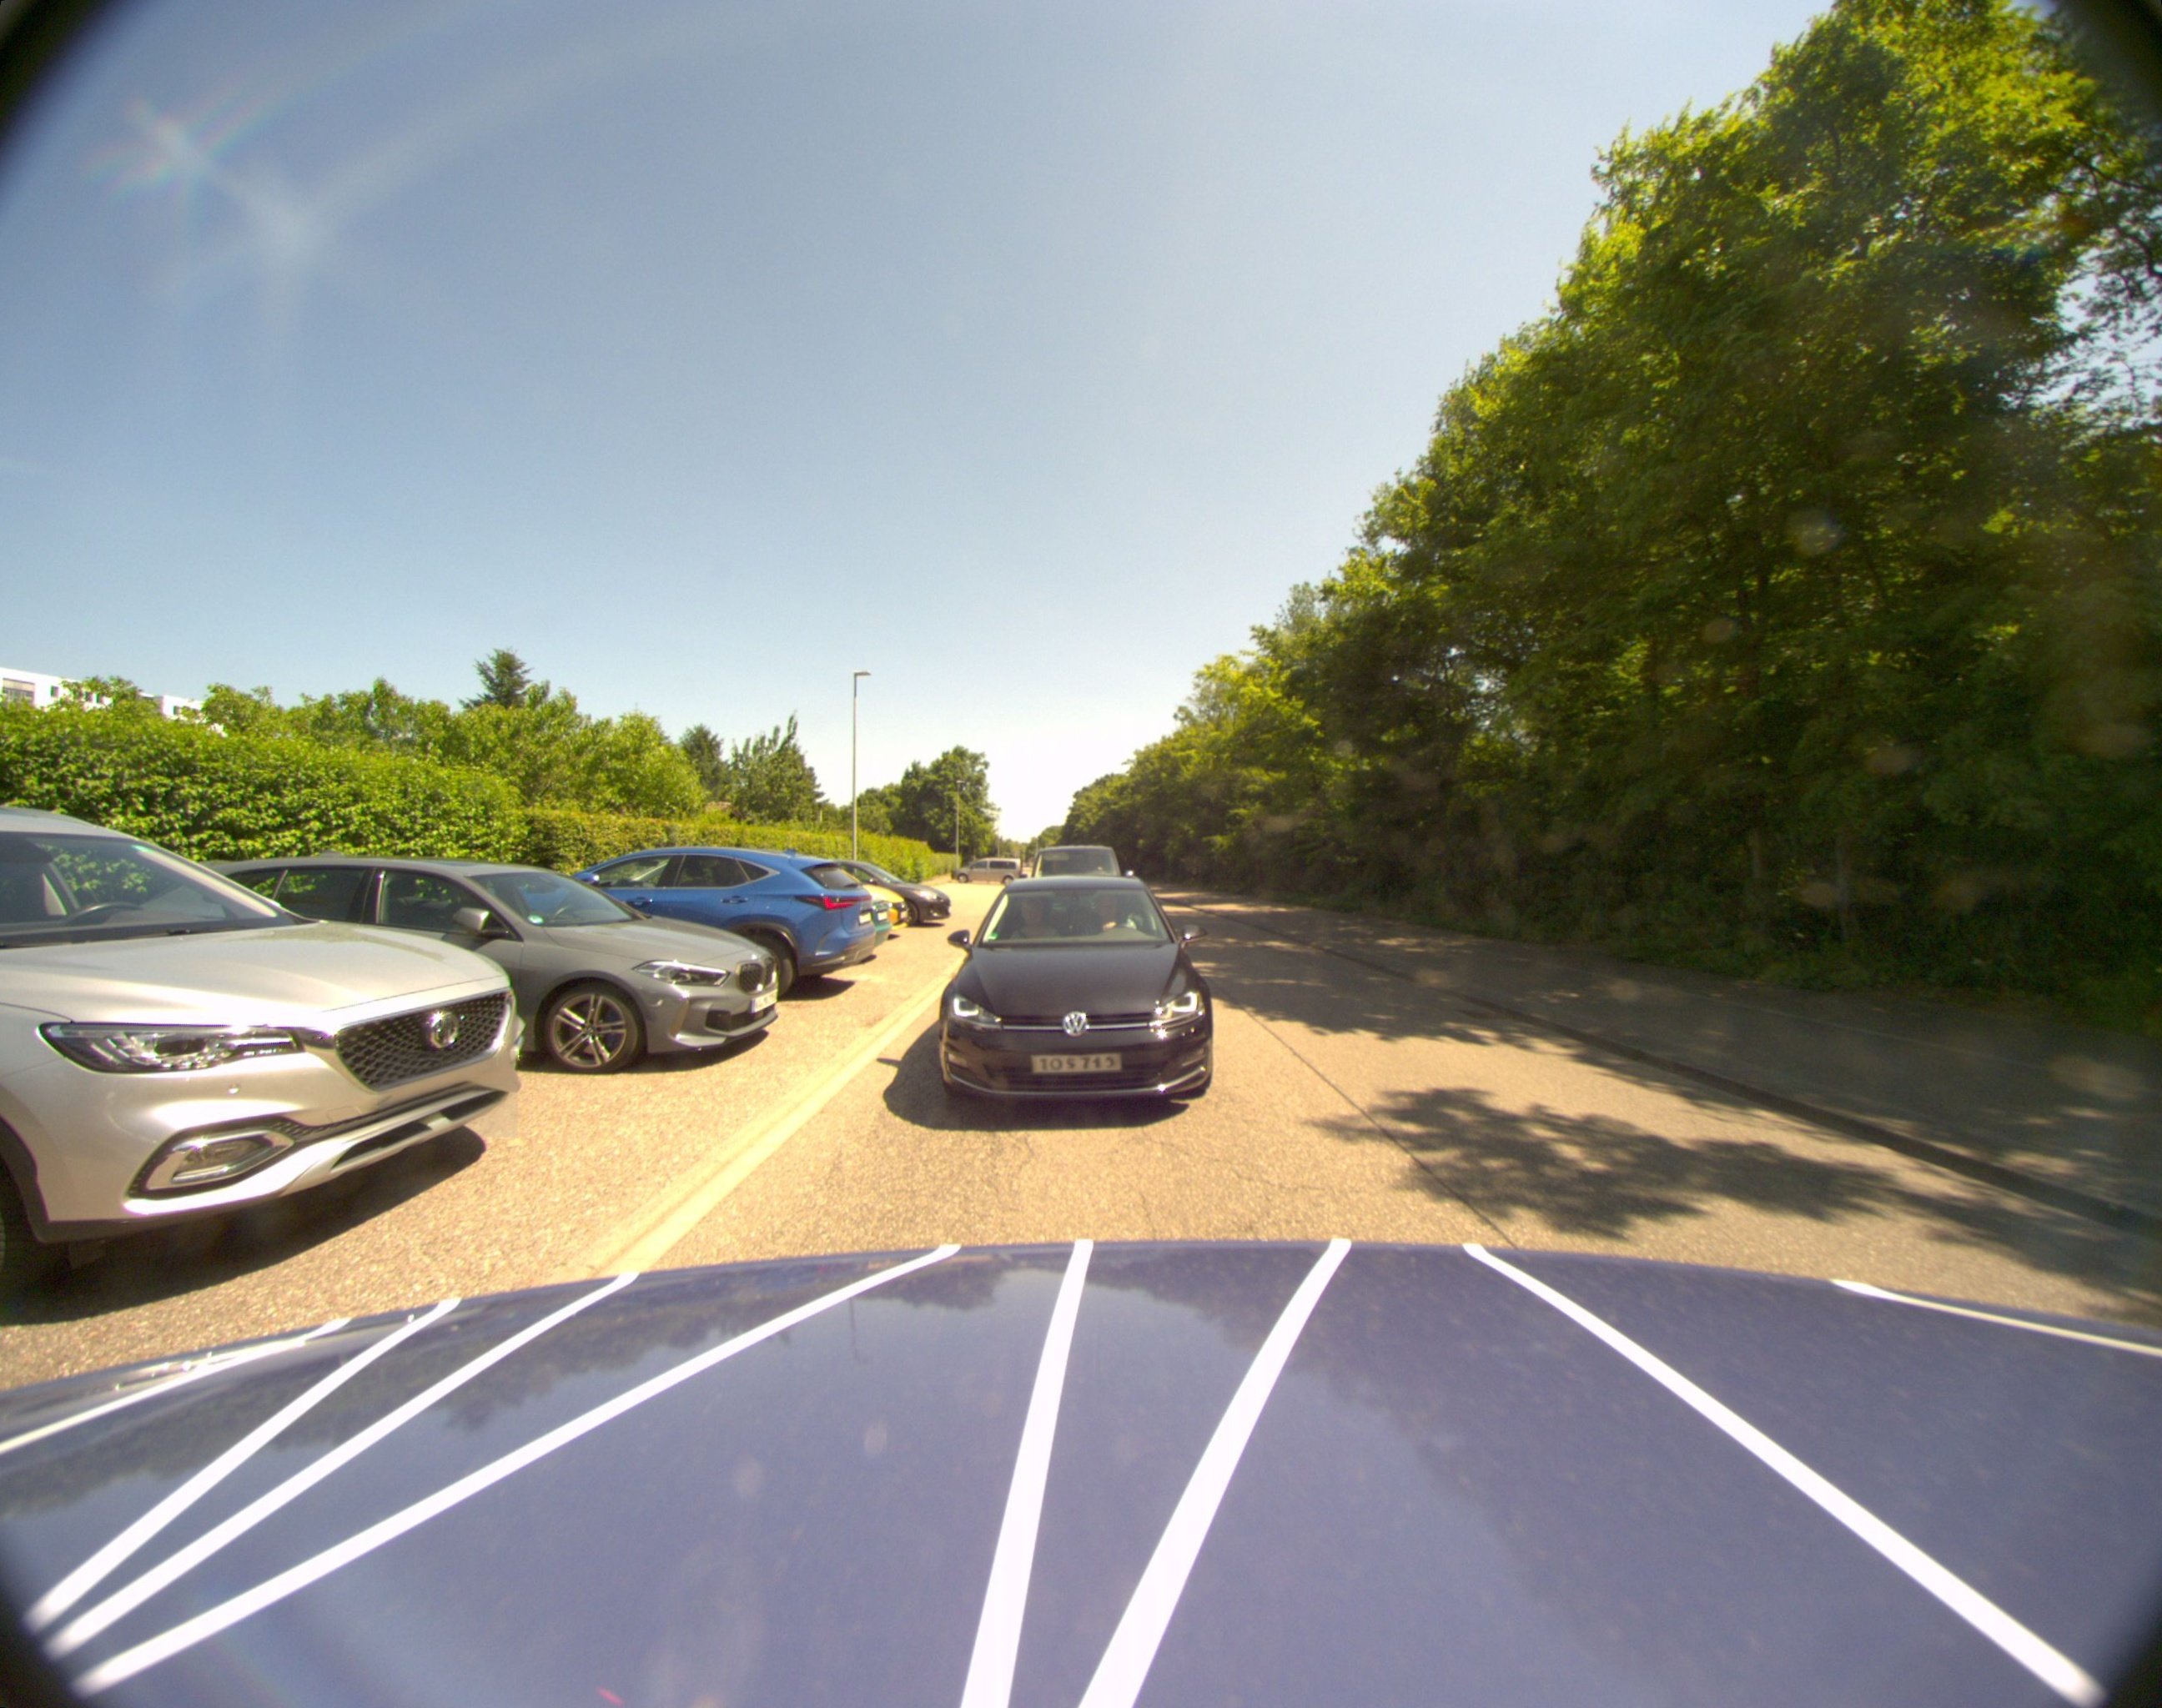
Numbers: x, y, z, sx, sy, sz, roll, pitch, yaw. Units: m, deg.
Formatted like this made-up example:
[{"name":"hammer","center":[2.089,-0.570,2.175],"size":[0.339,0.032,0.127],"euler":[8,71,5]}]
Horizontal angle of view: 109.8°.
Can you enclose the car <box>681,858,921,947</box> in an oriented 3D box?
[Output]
[{"name":"car","center":[-5.389,0.909,14.953],"size":[4.036,1.438,1.649],"euler":[3,0,0]}]

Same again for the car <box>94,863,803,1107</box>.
[{"name":"car","center":[-4.525,0.889,5.918],"size":[4.036,1.401,1.679],"euler":[3,0,-1]}]

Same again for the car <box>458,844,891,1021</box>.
[{"name":"car","center":[-4.482,0.828,8.805],"size":[4.036,1.632,1.674],"euler":[3,0,0]}]

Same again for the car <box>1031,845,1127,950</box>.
[{"name":"car","center":[-0.052,0.823,16.117],"size":[1.743,1.904,4.388],"euler":[-1,0,0]}]

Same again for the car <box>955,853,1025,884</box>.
[{"name":"car","center":[-6.137,0.968,51.491],"size":[4.493,1.840,1.695],"euler":[3,0,-4]}]

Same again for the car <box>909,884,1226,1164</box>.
[{"name":"car","center":[-0.090,1.027,6.403],"size":[1.743,1.396,4.388],"euler":[-1,0,0]}]

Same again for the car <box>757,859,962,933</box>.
[{"name":"car","center":[-5.104,0.947,17.862],"size":[4.251,1.410,1.649],"euler":[3,0,0]}]

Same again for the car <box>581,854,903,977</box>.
[{"name":"car","center":[-4.944,0.865,11.463],"size":[4.036,1.505,1.649],"euler":[3,0,0]}]

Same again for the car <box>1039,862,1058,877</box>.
[{"name":"car","center":[-3.277,1.530,76.618],"size":[1.744,1.396,4.386],"euler":[1,0,-4]}]

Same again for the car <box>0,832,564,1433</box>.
[{"name":"car","center":[-4.795,0.745,3.012],"size":[4.170,1.632,1.775],"euler":[3,0,-2]}]
